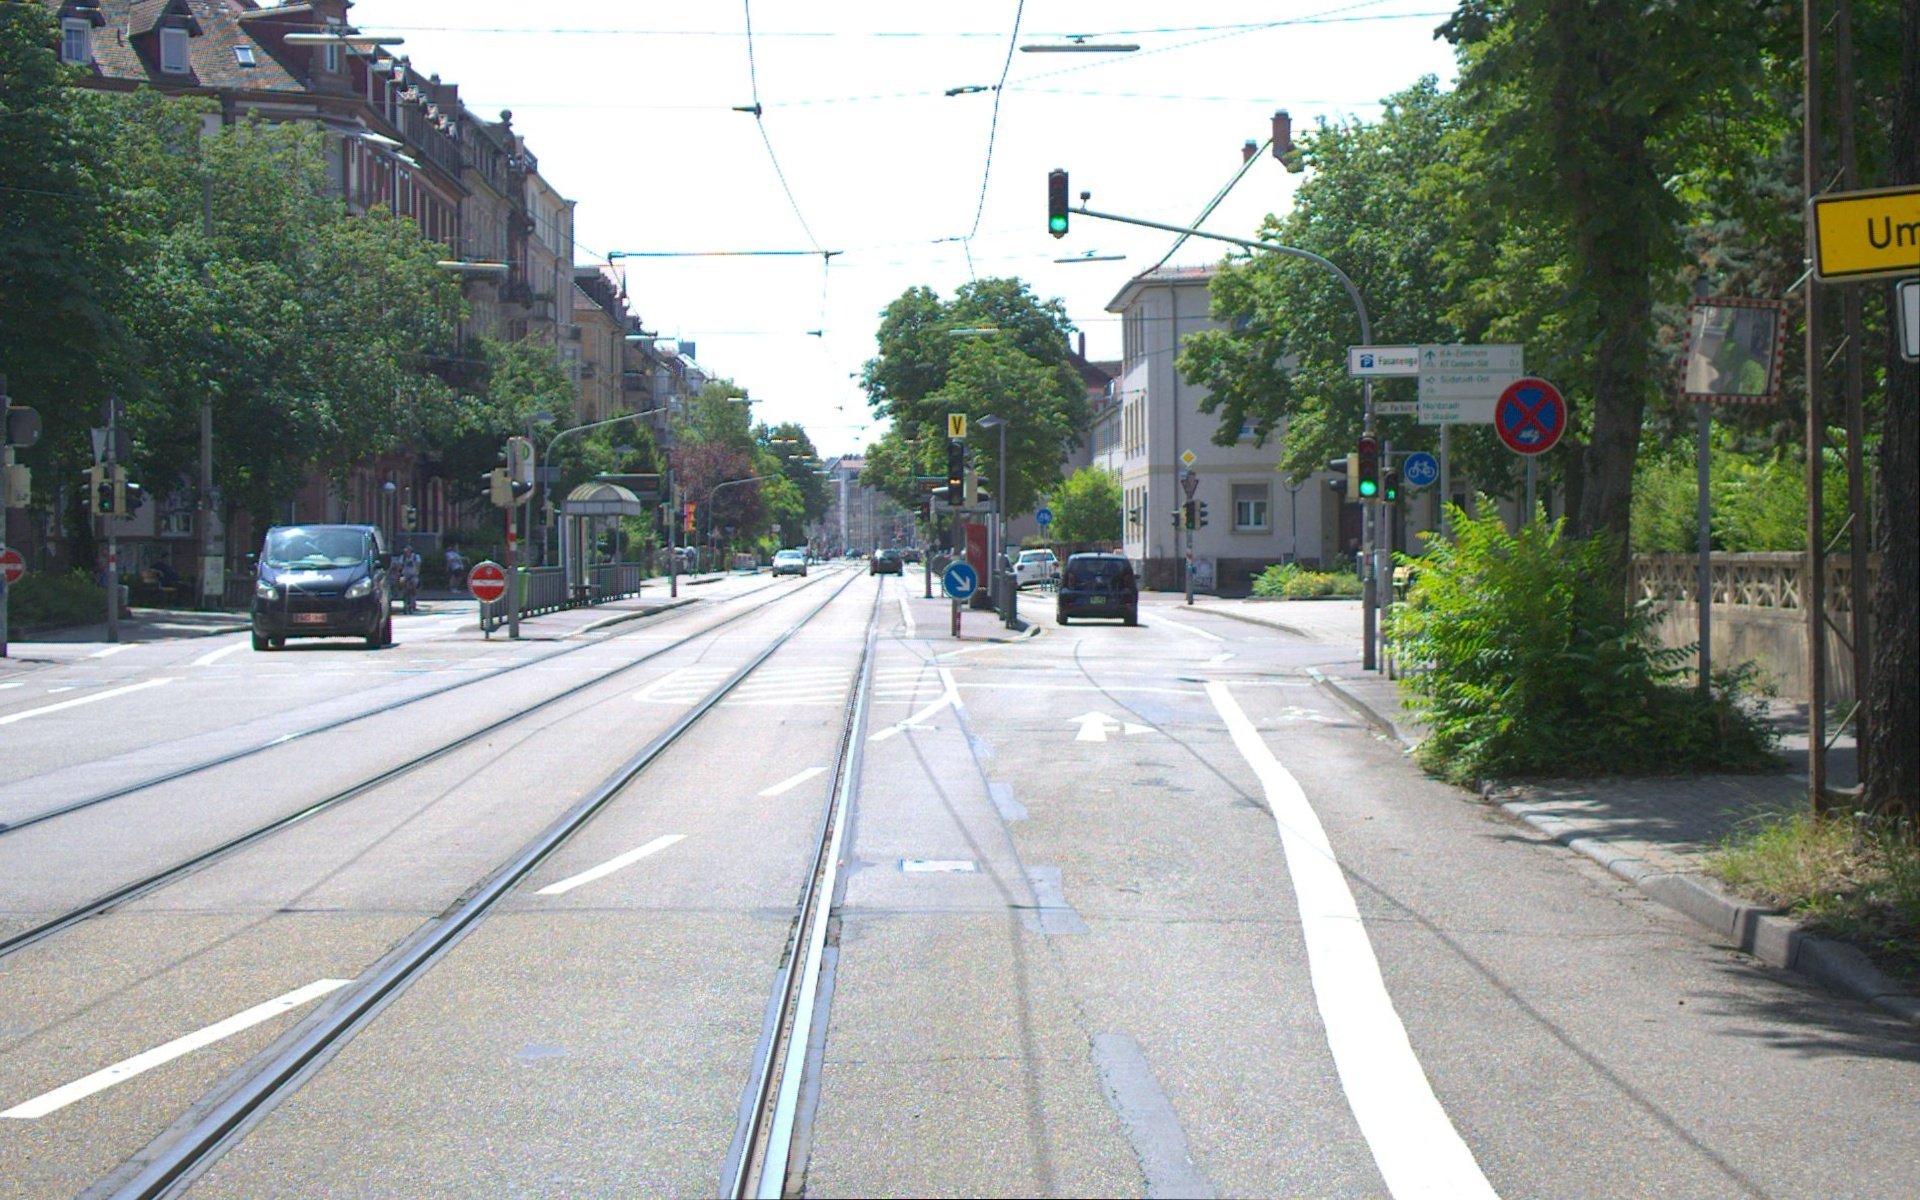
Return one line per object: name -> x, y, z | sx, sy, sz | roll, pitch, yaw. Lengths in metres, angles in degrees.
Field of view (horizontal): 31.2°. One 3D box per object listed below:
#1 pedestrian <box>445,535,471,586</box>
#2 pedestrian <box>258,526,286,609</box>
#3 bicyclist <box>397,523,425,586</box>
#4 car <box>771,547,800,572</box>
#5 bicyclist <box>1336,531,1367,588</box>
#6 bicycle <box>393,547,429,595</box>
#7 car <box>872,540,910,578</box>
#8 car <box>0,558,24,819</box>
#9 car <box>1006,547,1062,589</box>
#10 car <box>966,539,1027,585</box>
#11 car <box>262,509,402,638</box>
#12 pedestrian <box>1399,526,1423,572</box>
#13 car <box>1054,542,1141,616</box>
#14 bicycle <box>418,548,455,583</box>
pedestrian -> -16.385, -1.289, 112.195 | 0.652, 1.609, 0.469 | 0, 3, -44
pedestrian -> -15.633, -0.731, 78.132 | 0.510, 1.873, 0.494 | 1, 0, 3
bicyclist -> -13.728, -1.138, 85.946 | 0.608, 1.569, 0.585 | 1, 0, -2
car -> -9.362, -2.164, 184.429 | 1.540, 1.334, 3.719 | 1, 0, -3
bicyclist -> 11.493, -1.183, 100.862 | 0.695, 1.640, 0.579 | 1, 0, 32
bicycle -> -13.737, -0.727, 86.016 | 0.628, 1.153, 1.978 | 1, 1, -2
car -> -3.822, -2.258, 189.286 | 2.047, 2.007, 4.607 | 1, 1, -1
car -> -5.972, 0.512, 17.176 | 1.708, 1.407, 3.826 | -1, 1, -3
car -> 2.720, -1.188, 127.511 | 1.747, 1.468, 3.939 | -3, 1, -2
car -> 1.178, -1.241, 112.624 | 1.524, 1.451, 3.365 | -1, 1, -7
car -> -9.962, -0.424, 54.837 | 1.843, 1.931, 4.824 | -1, 1, -7
pedestrian -> 10.909, -1.245, 83.193 | 0.509, 1.088, 0.478 | -1, 2, 4
car -> 2.806, -0.442, 70.712 | 1.524, 1.439, 3.365 | -1, 1, -1
bicycle -> -17.489, -1.166, 114.936 | 0.364, 1.165, 1.517 | 2, 2, 28
